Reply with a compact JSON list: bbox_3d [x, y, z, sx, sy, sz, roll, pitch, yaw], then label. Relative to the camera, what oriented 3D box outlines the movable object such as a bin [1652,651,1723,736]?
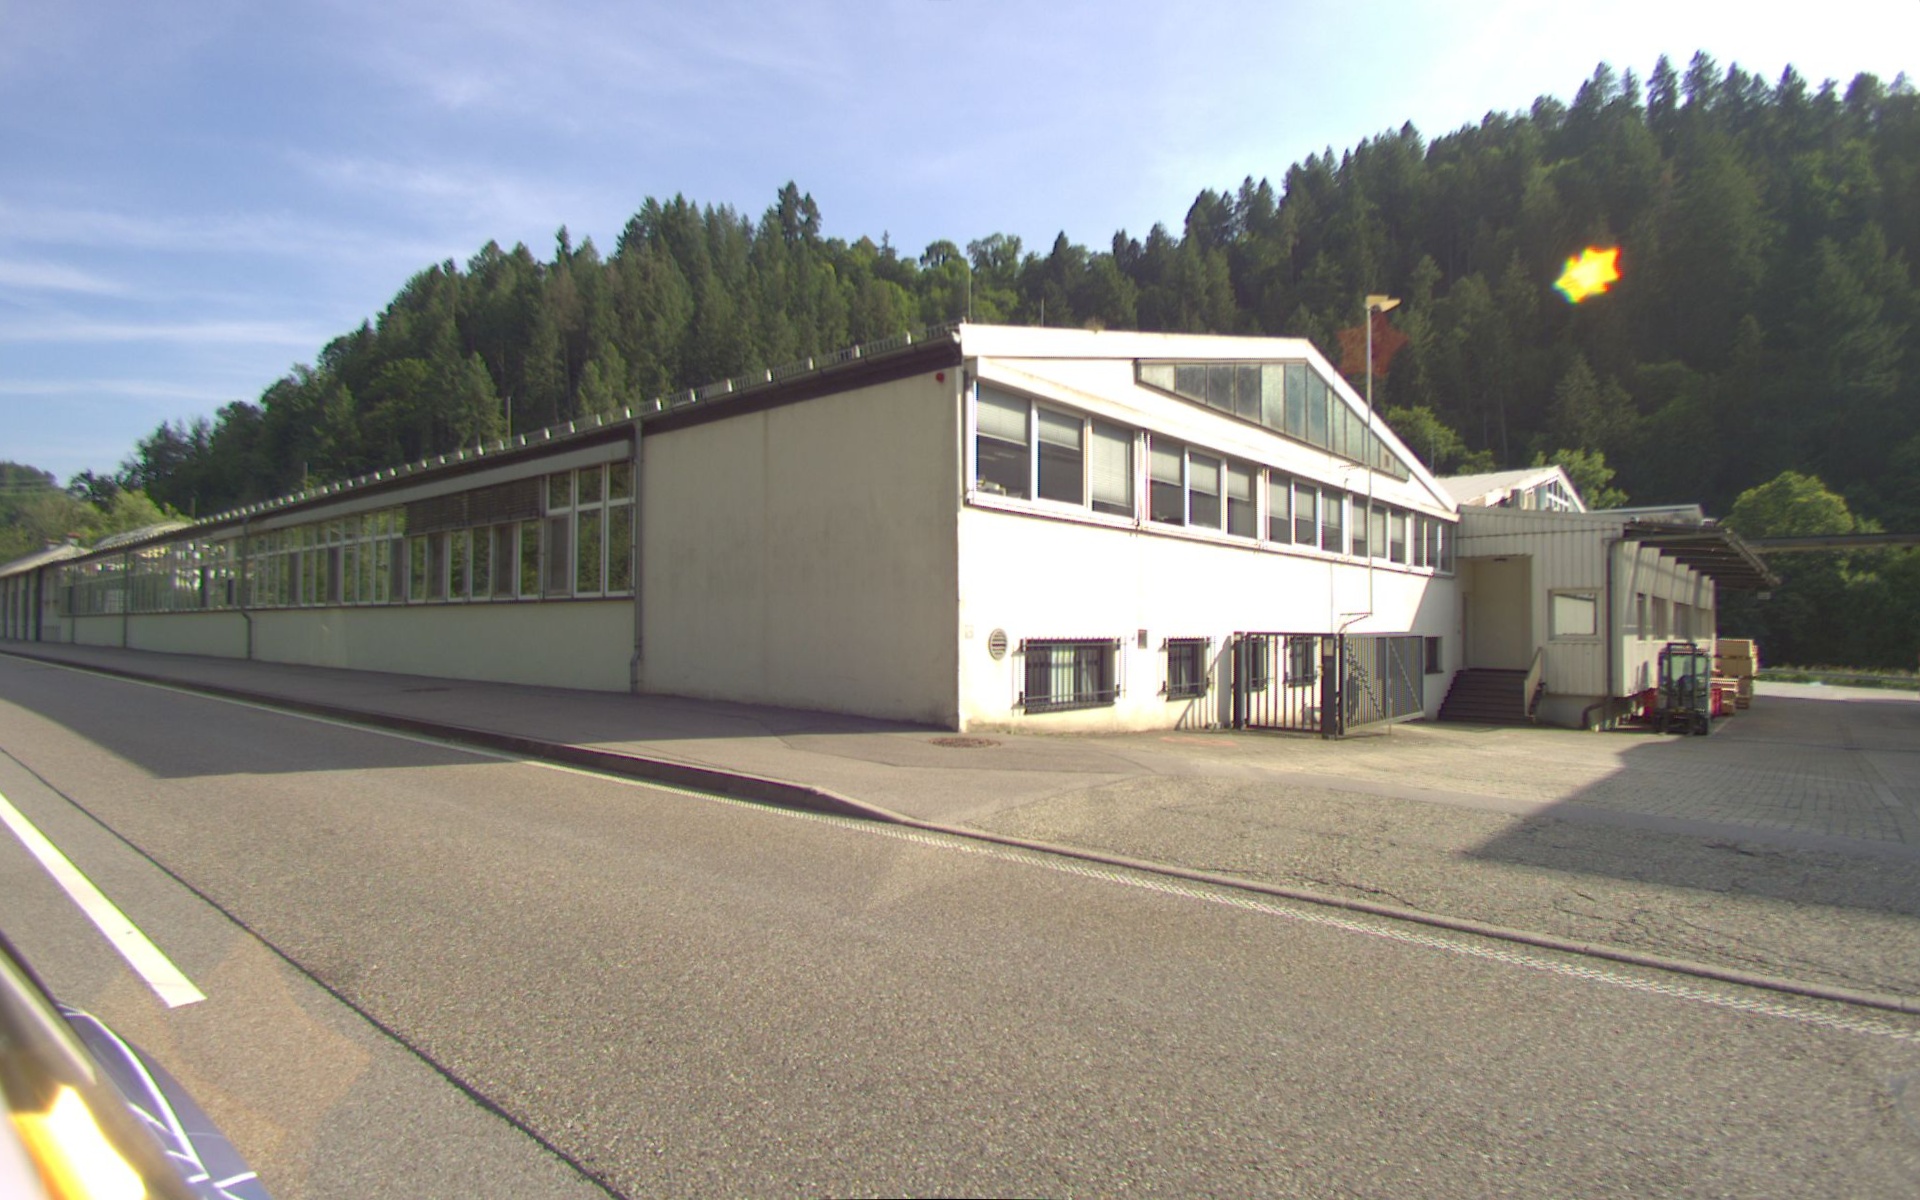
[{"bbox_3d":[18.372,2.320,25.544,1.380,2.029,1.798,-1,-4,38],"label":"movable object such as a bin"}]

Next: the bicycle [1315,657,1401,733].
[{"bbox_3d":[7.455,1.737,18.867,1.039,1.270,2.471,0,-4,32],"label":"bicycle"}]
